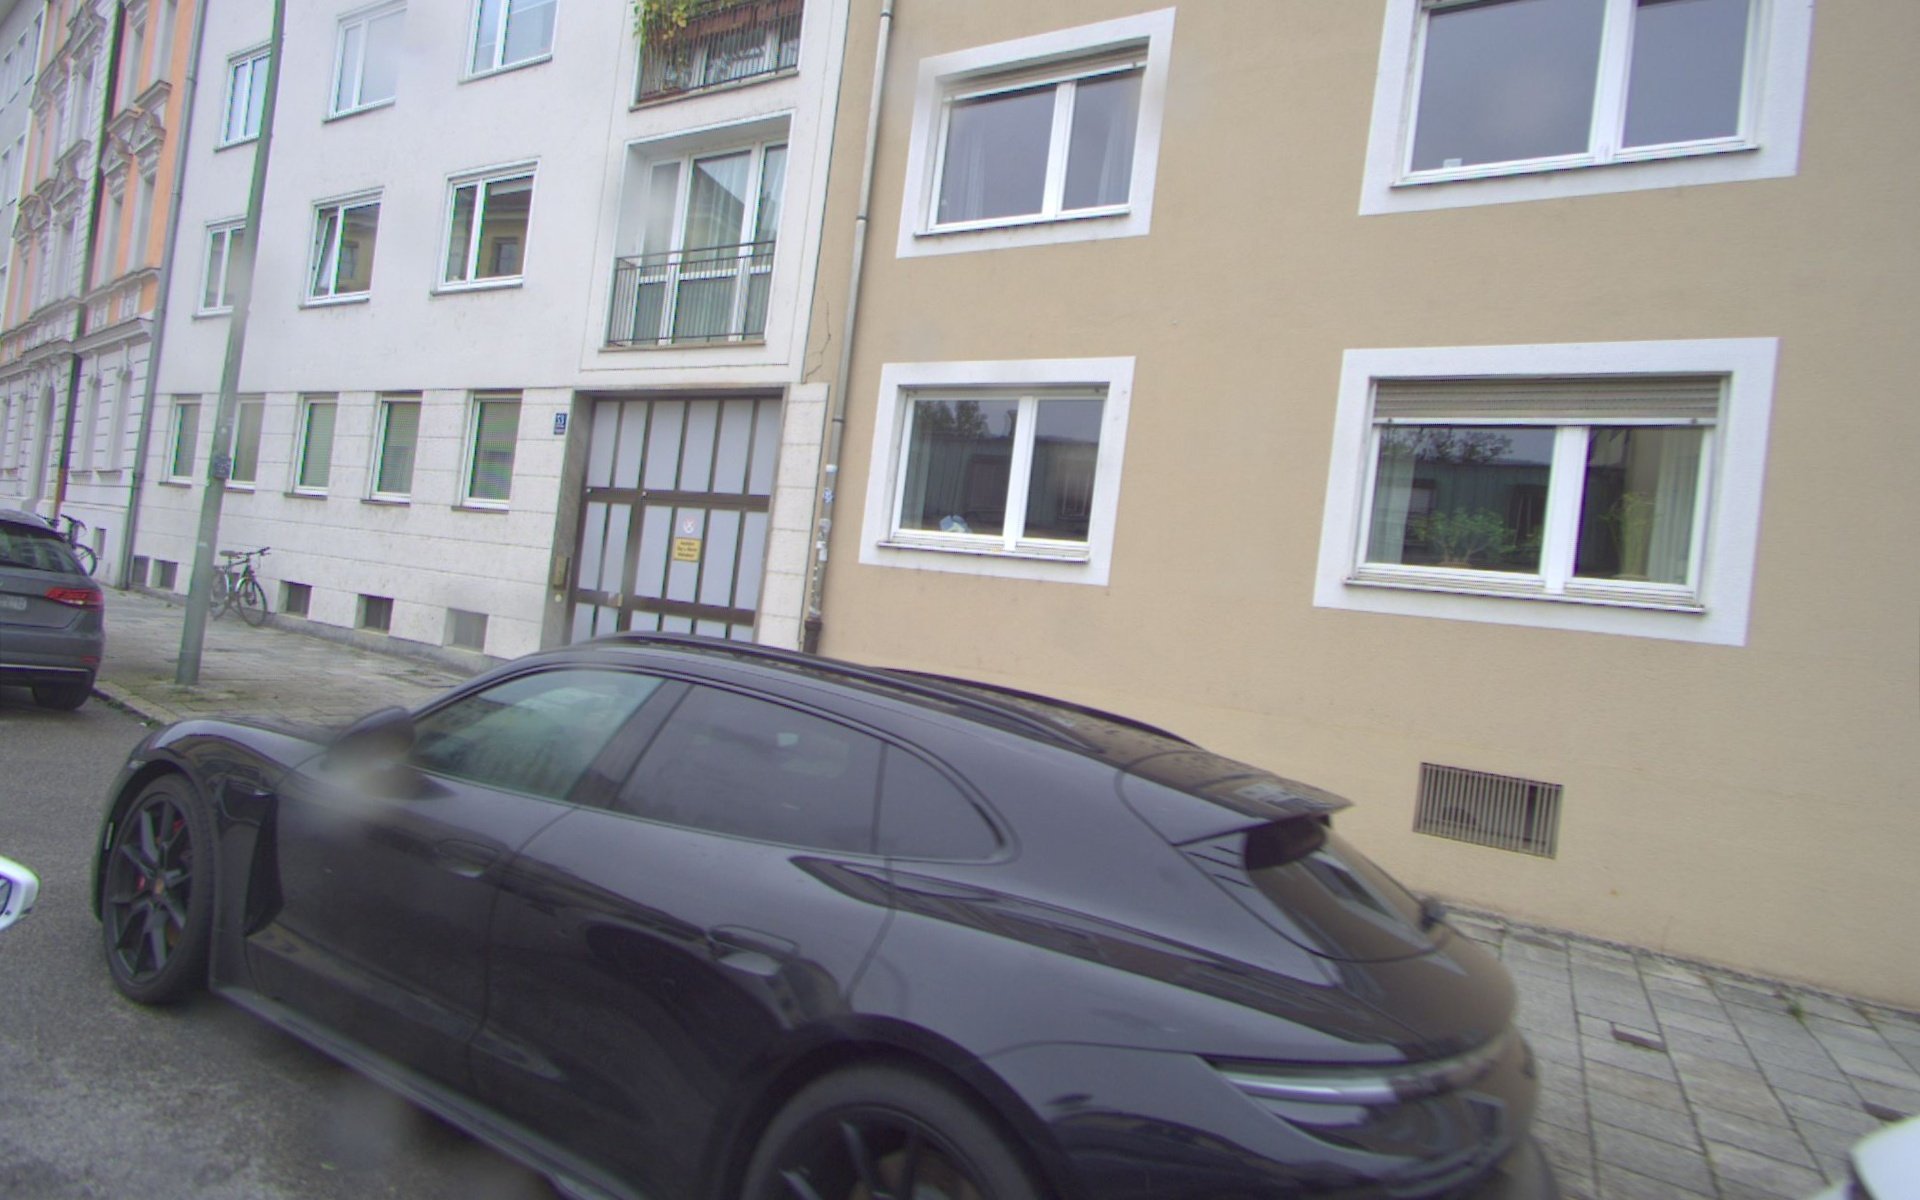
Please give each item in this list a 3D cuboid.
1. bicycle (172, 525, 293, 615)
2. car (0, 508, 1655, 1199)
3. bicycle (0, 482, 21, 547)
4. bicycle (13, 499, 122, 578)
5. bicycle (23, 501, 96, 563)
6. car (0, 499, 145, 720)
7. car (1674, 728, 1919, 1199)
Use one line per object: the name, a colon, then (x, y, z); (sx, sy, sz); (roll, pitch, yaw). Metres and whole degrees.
bicycle: (-10.666, -0.448, 14.724); (1.965, 1.085, 0.530); (7, 0, 27)
car: (-0.918, 0.691, 3.329); (5.027, 1.431, 1.958); (6, -1, 31)
bicycle: (-22.145, -2.019, 22.914); (2.058, 1.402, 0.596); (7, 1, 34)
bicycle: (-15.352, -1.059, 17.292); (1.961, 1.126, 0.724); (7, 0, 29)
bicycle: (-17.626, -1.344, 19.671); (1.788, 1.037, 0.596); (7, 1, 34)
car: (-8.417, -0.178, 7.818); (4.328, 1.470, 1.711); (7, -3, 31)
car: (3.581, 1.225, 0.557); (4.929, 1.431, 1.858); (7, -1, 30)
